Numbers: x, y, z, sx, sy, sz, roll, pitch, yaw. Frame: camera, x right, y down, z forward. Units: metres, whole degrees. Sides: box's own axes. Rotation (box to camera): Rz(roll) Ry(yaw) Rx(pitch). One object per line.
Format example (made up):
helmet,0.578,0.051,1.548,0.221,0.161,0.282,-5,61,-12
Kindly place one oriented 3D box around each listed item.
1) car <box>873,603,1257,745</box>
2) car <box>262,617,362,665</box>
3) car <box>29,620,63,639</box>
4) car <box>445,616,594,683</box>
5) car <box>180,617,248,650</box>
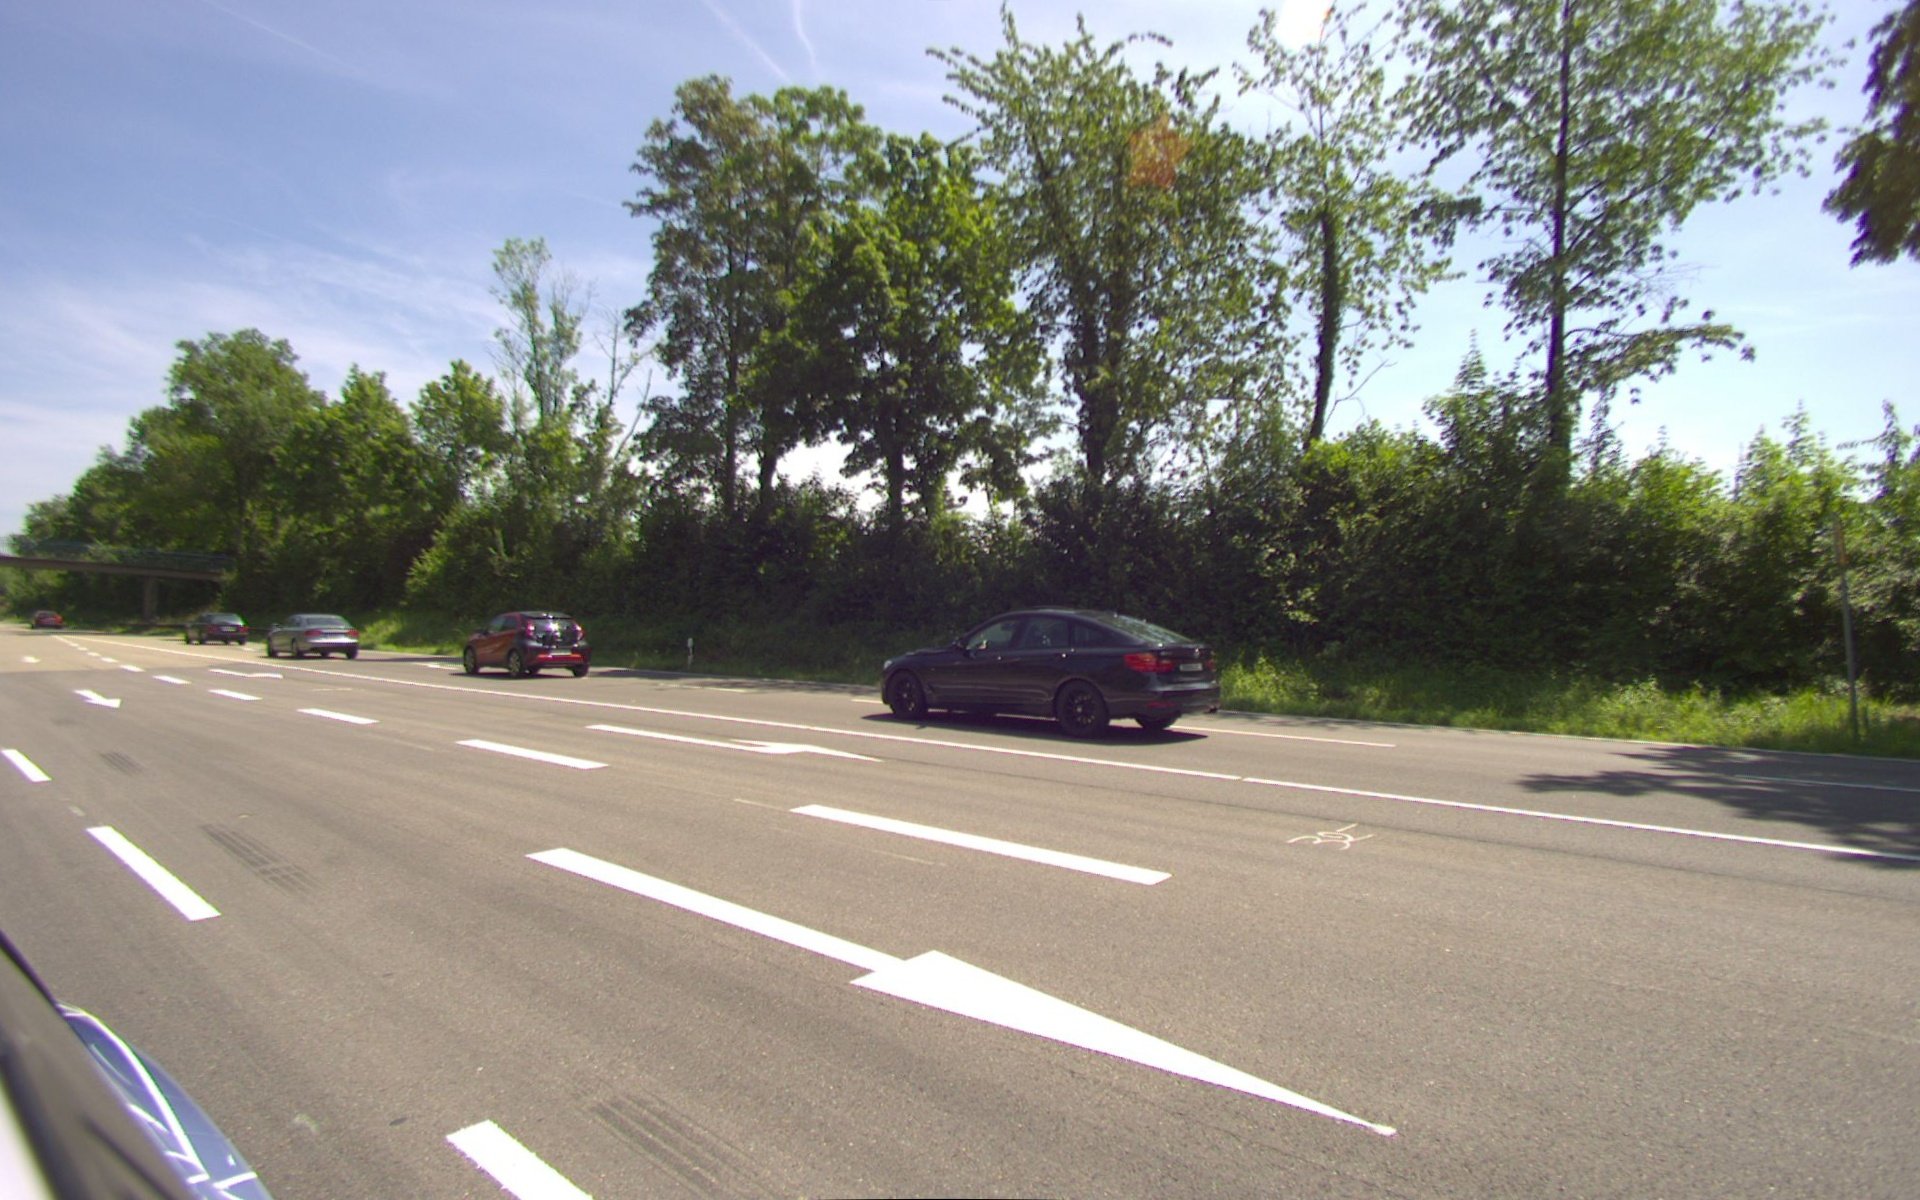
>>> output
car,1.184,0.861,12.941,4.686,1.492,1.898,-2,-3,42
car,-21.219,1.284,33.074,3.999,1.397,1.748,0,0,42
car,-76.009,2.439,84.136,1.881,1.520,3.766,2,-2,-45
car,-10.517,1.126,24.059,4.013,1.449,1.625,-1,-2,40
car,-34.446,1.524,46.725,3.999,1.397,1.748,0,0,42
